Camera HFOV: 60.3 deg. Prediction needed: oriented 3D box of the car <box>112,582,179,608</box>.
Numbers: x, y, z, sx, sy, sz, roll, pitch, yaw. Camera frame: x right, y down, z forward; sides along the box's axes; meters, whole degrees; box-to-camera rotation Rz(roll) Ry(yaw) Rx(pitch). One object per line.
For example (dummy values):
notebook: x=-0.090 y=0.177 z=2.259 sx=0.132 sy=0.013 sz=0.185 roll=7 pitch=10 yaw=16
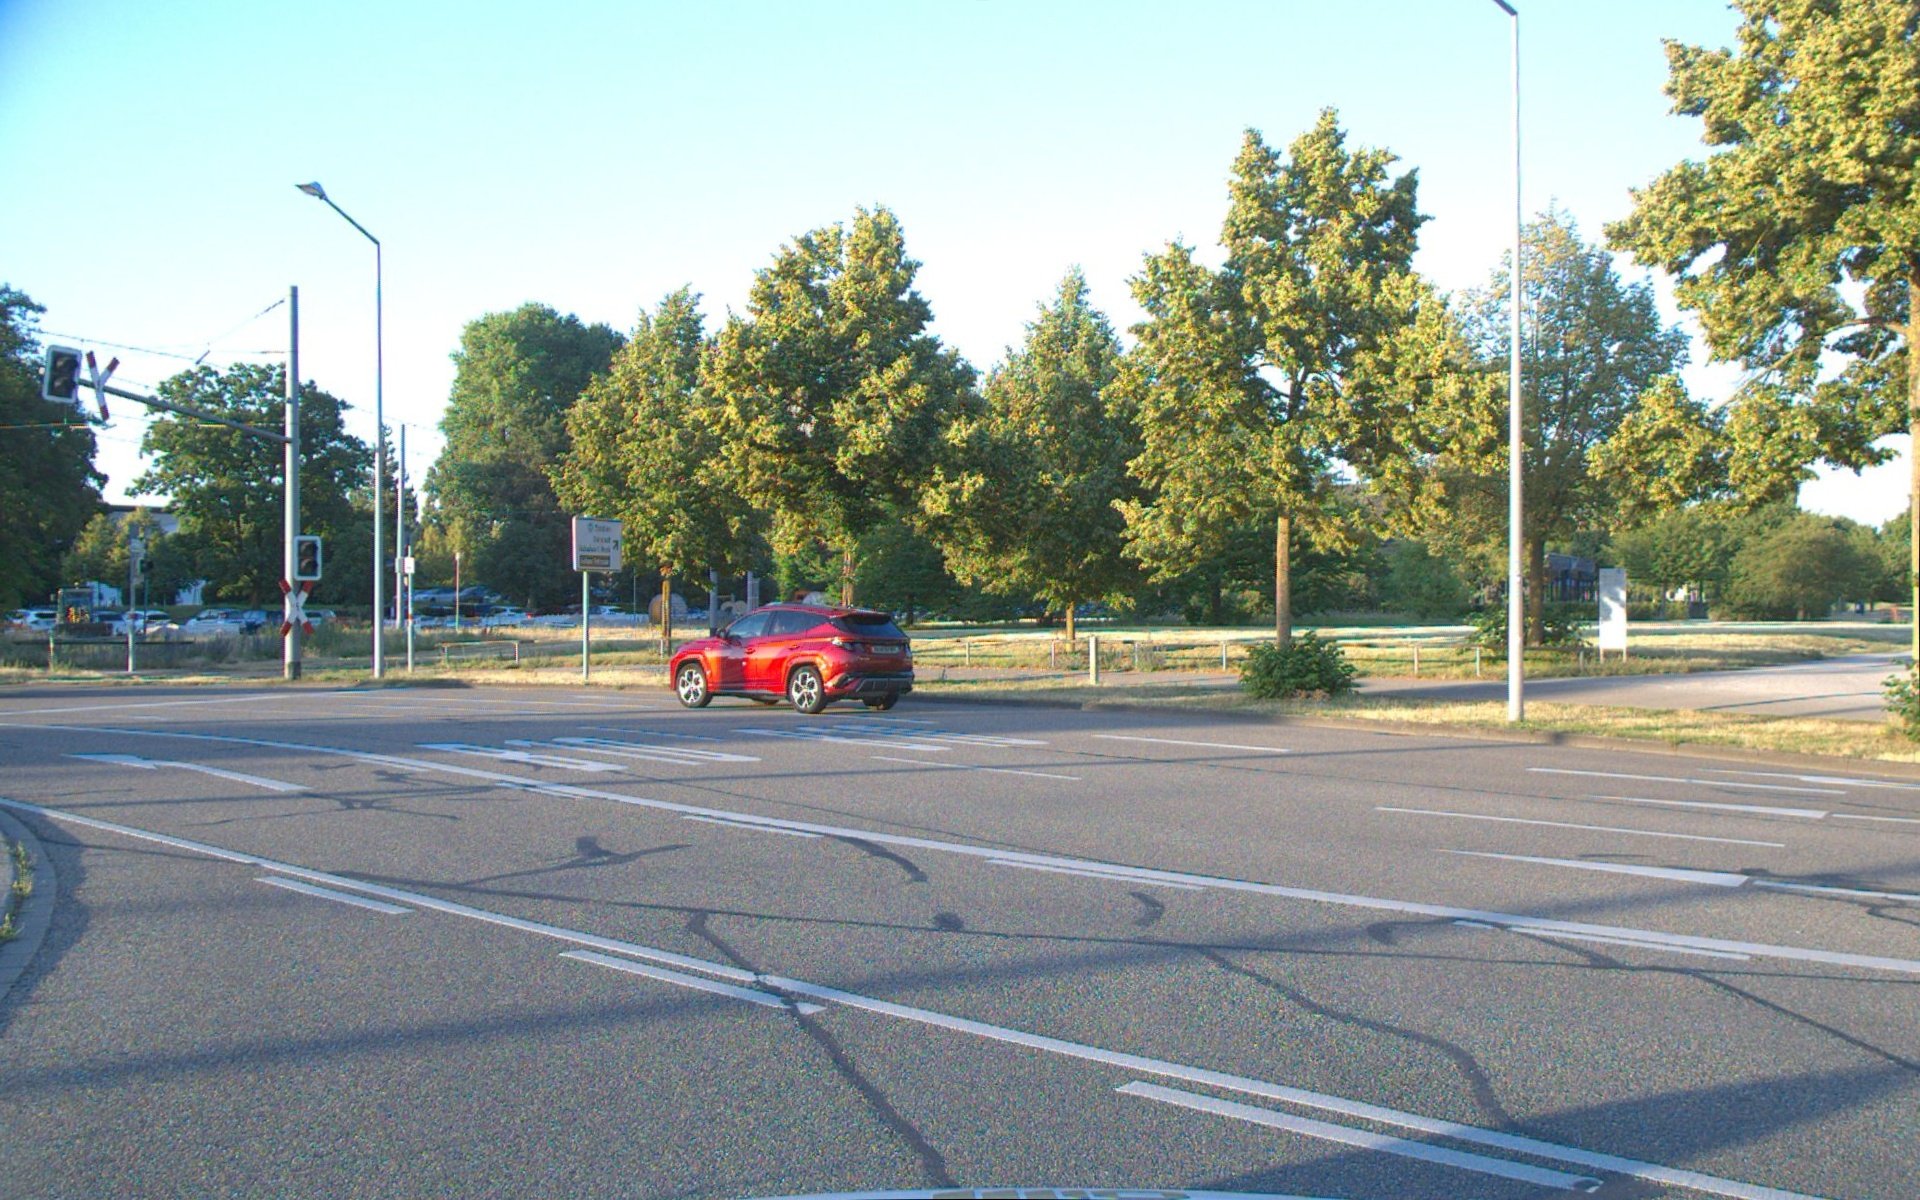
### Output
car: x=-67.109 y=-0.409 z=136.342 sx=1.958 sy=2.049 sz=4.585 roll=0 pitch=0 yaw=33

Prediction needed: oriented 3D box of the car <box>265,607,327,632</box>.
car: x=-45.808 y=1.324 z=114.114 sx=3.933 sy=1.691 sz=1.889 roll=0 pitch=0 yaw=-23

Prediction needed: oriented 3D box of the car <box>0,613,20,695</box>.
car: x=-19.854 y=1.007 z=30.165 sx=4.556 sy=1.489 sz=1.888 roll=0 pitch=0 yaw=10

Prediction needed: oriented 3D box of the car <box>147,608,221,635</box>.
car: x=-50.222 y=1.373 z=107.086 sx=1.863 sy=1.691 sz=3.987 roll=0 pitch=0 yaw=34

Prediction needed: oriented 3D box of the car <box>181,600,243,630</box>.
car: x=-52.489 y=1.040 z=116.065 sx=3.939 sy=2.049 sz=1.983 roll=0 pitch=0 yaw=-27

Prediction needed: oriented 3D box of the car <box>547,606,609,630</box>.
car: x=-26.261 y=1.240 z=113.677 sx=3.915 sy=1.632 sz=1.995 roll=0 pitch=0 yaw=32

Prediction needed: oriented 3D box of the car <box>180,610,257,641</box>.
car: x=-40.523 y=1.366 z=90.379 sx=3.915 sy=1.632 sz=1.995 roll=0 pitch=0 yaw=32

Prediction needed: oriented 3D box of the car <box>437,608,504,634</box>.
car: x=-30.968 y=1.326 z=104.688 sx=3.915 sy=1.632 sz=1.995 roll=0 pitch=0 yaw=32

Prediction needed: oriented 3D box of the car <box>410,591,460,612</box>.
car: x=-47.942 y=0.119 z=151.066 sx=1.959 sy=1.847 sz=3.987 roll=0 pitch=0 yaw=34

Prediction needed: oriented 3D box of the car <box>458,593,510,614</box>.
car: x=-41.680 y=0.301 z=144.726 sx=3.902 sy=1.736 sz=2.001 roll=0 pitch=0 yaw=6

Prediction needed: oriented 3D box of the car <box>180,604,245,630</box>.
car: x=-50.552 y=1.112 z=111.873 sx=3.939 sy=1.691 sz=1.983 roll=0 pitch=0 yaw=-27

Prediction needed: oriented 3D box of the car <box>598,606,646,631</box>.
car: x=-26.355 y=1.397 z=128.882 sx=1.979 sy=1.782 sz=4.538 roll=0 pitch=1 yaw=-37

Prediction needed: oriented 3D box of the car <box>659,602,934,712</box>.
car: x=-2.668 y=0.839 z=26.488 sx=4.335 sy=1.601 sz=1.989 roll=0 pitch=0 yaw=41

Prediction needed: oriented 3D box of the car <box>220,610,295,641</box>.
car: x=-39.080 y=1.398 z=92.047 sx=3.915 sy=1.632 sz=1.995 roll=0 pitch=0 yaw=32

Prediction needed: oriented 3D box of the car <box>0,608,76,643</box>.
car: x=-45.617 y=1.240 z=81.437 sx=3.915 sy=1.632 sz=1.995 roll=0 pitch=0 yaw=32

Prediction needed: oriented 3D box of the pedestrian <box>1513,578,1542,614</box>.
pedestrian: x=26.396 y=-0.193 z=76.921 sx=1.047 sy=1.646 sz=0.911 roll=0 pitch=0 yaw=2

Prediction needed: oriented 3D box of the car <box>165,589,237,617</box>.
car: x=-56.639 y=0.243 z=123.493 sx=1.956 sy=2.049 sz=4.590 roll=0 pitch=0 yaw=29

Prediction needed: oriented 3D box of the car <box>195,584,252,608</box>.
car: x=-63.367 y=-0.321 z=142.363 sx=1.958 sy=2.049 sz=4.105 roll=0 pitch=0 yaw=33

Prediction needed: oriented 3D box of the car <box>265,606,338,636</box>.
car: x=-37.380 y=1.170 z=93.872 sx=3.915 sy=1.632 sz=1.995 roll=0 pitch=0 yaw=32

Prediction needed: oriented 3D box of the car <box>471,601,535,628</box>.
car: x=-34.585 y=1.088 z=125.265 sx=4.499 sy=2.049 sz=1.996 roll=0 pitch=0 yaw=-9

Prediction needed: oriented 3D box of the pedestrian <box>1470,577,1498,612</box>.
pedestrian: x=24.717 y=-0.279 z=78.026 sx=1.047 sy=1.646 sz=0.911 roll=0 pitch=0 yaw=2

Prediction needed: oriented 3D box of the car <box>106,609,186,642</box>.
car: x=-42.247 y=1.317 z=85.789 sx=3.915 sy=1.632 sz=1.995 roll=0 pitch=0 yaw=32

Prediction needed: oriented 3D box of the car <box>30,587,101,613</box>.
car: x=-70.525 y=-0.020 z=130.467 sx=1.956 sy=2.049 sz=4.590 roll=0 pitch=0 yaw=29

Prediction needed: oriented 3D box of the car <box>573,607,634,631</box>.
car: x=-24.892 y=1.326 z=115.426 sx=3.915 sy=1.632 sz=1.995 roll=0 pitch=0 yaw=32

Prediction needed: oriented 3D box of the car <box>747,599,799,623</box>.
car: x=-12.994 y=0.764 z=114.675 sx=1.724 sy=1.646 sz=3.940 roll=0 pitch=0 yaw=-41

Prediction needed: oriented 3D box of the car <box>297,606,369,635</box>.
car: x=-36.436 y=1.195 z=96.091 sx=3.915 sy=1.632 sz=1.995 roll=0 pitch=0 yaw=32

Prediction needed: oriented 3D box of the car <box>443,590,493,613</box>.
car: x=-44.080 y=0.115 z=148.239 sx=1.963 sy=2.049 sz=3.979 roll=0 pitch=0 yaw=40

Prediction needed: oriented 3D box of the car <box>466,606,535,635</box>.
car: x=-32.516 y=1.444 z=117.157 sx=4.499 sy=2.049 sz=1.996 roll=0 pitch=0 yaw=-9
